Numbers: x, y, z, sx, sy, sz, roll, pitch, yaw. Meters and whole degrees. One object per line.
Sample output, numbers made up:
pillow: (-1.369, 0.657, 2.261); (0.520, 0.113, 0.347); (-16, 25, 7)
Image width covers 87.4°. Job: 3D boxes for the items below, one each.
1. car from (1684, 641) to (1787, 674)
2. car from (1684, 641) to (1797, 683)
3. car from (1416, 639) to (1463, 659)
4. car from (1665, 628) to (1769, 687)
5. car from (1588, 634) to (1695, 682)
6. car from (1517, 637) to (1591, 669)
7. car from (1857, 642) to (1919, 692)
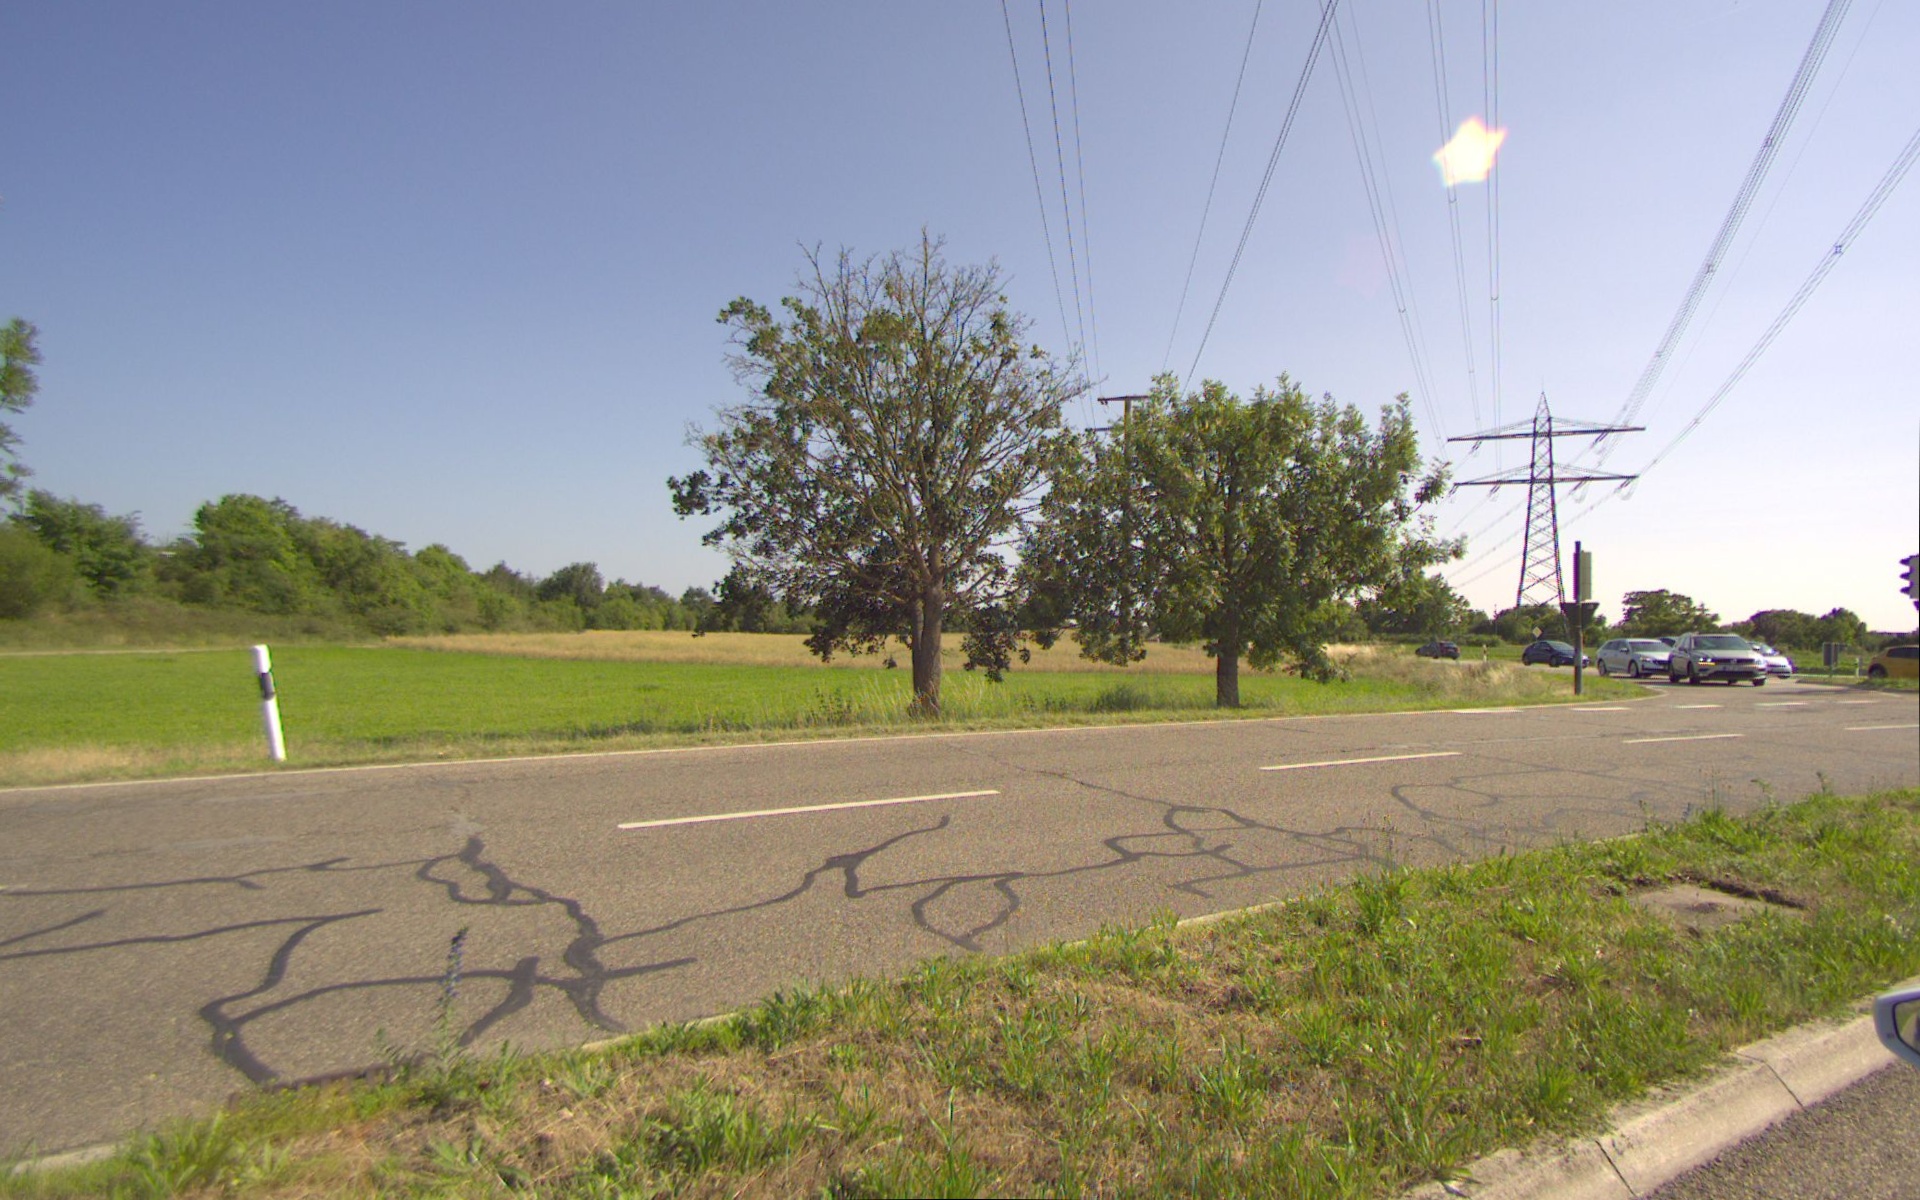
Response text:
car: (39.461, 2.905, 51.249); (1.773, 1.539, 4.334); (1, -1, -3)
car: (34.079, 2.657, 43.974); (1.785, 1.673, 4.000); (1, -1, -1)
car: (38.631, 3.923, 80.947); (1.683, 1.435, 4.103); (1, -1, -3)
car: (23.540, 1.744, 31.378); (1.786, 1.673, 3.997); (0, -2, 25)
car: (25.729, 2.149, 38.102); (1.783, 1.673, 4.003); (1, -1, 8)
car: (33.517, 2.960, 56.805); (1.785, 1.673, 4.000); (1, -1, -1)
car: (34.027, 2.349, 35.088); (1.785, 1.673, 4.000); (1, -1, -1)
